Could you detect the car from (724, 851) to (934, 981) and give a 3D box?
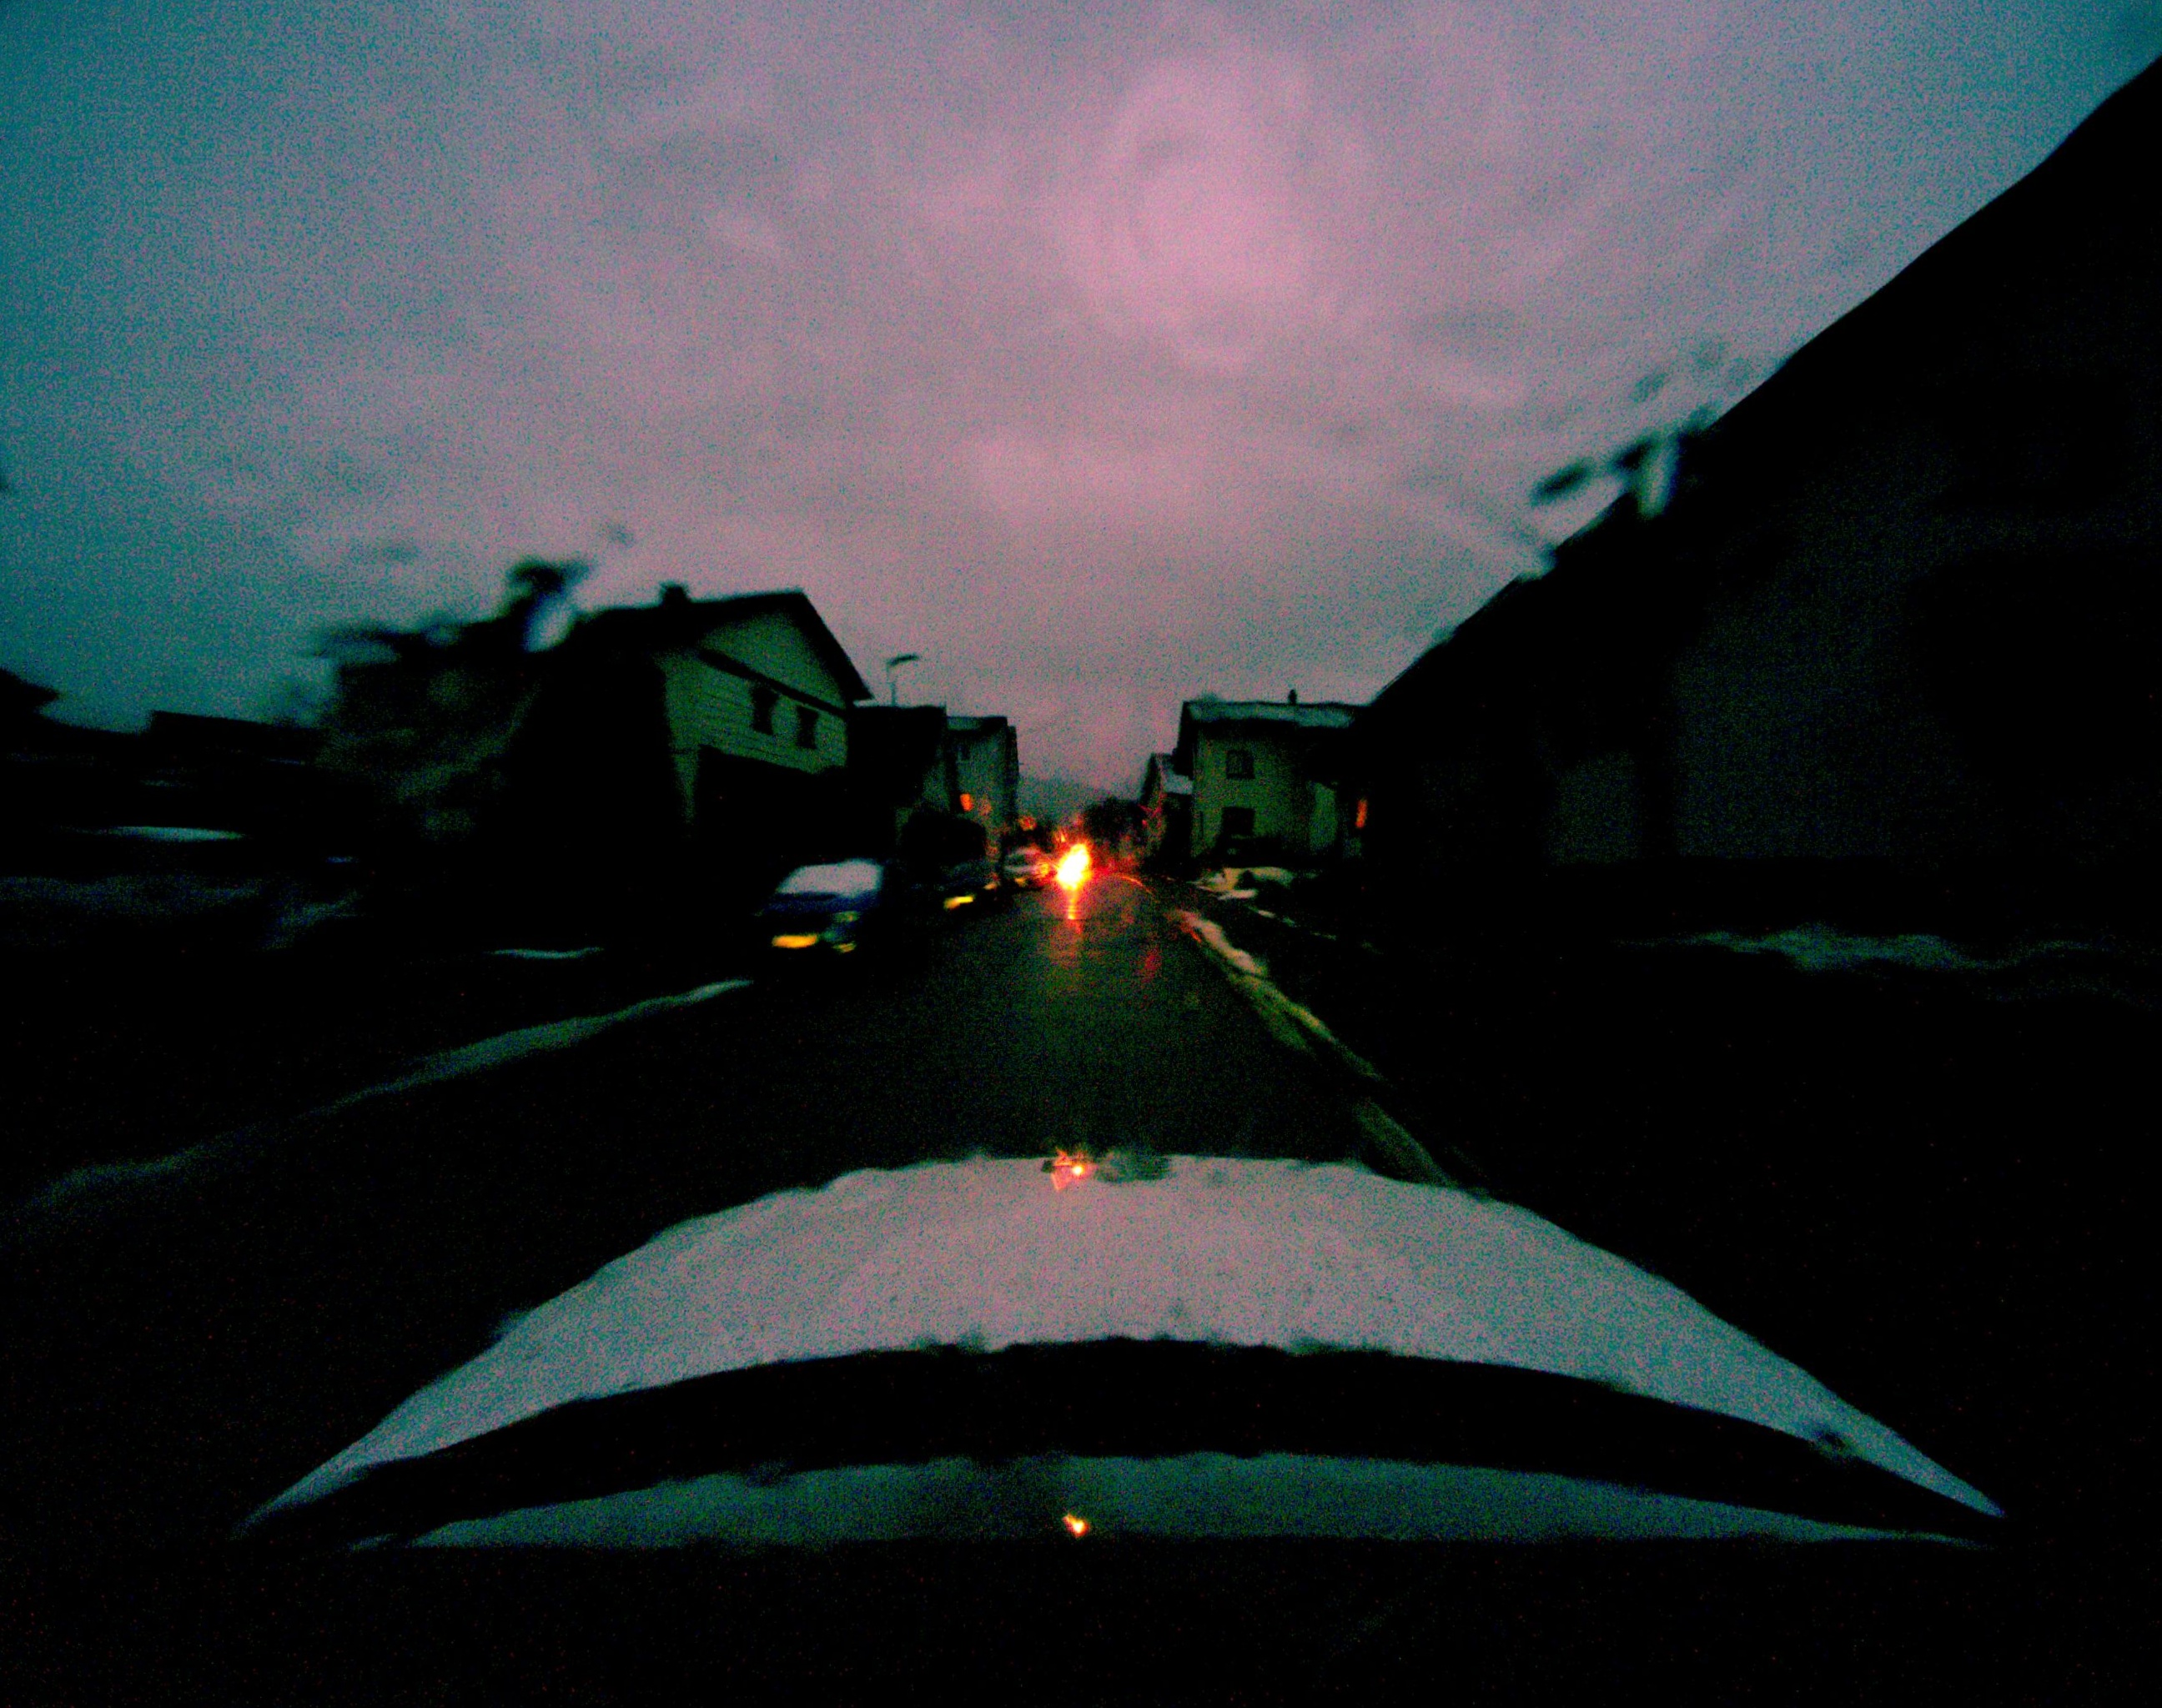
[{"bbox_3d":[-3.478,0.808,12.122,1.677,1.584,4.177,-1,-1,2],"label":"car"}]

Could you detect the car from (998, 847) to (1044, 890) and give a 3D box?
[{"bbox_3d":[-2.710,0.647,37.484,1.820,1.835,4.343,-1,0,-1],"label":"car"}]

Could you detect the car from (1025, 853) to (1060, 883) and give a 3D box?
[{"bbox_3d":[-2.389,0.894,51.786,1.987,1.800,3.999,-1,0,0],"label":"car"}]

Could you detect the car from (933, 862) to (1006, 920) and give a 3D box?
[{"bbox_3d":[-3.192,1.004,24.040,1.790,1.503,4.304,-1,0,-4],"label":"car"}]

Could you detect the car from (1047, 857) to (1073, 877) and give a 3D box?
[{"bbox_3d":[-1.770,1.151,69.914,1.986,1.650,4.001,-1,-2,2],"label":"car"}]

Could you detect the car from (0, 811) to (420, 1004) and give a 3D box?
[{"bbox_3d":[-9.226,0.444,8.028,3.967,1.618,1.891,1,-1,6],"label":"car"}]
